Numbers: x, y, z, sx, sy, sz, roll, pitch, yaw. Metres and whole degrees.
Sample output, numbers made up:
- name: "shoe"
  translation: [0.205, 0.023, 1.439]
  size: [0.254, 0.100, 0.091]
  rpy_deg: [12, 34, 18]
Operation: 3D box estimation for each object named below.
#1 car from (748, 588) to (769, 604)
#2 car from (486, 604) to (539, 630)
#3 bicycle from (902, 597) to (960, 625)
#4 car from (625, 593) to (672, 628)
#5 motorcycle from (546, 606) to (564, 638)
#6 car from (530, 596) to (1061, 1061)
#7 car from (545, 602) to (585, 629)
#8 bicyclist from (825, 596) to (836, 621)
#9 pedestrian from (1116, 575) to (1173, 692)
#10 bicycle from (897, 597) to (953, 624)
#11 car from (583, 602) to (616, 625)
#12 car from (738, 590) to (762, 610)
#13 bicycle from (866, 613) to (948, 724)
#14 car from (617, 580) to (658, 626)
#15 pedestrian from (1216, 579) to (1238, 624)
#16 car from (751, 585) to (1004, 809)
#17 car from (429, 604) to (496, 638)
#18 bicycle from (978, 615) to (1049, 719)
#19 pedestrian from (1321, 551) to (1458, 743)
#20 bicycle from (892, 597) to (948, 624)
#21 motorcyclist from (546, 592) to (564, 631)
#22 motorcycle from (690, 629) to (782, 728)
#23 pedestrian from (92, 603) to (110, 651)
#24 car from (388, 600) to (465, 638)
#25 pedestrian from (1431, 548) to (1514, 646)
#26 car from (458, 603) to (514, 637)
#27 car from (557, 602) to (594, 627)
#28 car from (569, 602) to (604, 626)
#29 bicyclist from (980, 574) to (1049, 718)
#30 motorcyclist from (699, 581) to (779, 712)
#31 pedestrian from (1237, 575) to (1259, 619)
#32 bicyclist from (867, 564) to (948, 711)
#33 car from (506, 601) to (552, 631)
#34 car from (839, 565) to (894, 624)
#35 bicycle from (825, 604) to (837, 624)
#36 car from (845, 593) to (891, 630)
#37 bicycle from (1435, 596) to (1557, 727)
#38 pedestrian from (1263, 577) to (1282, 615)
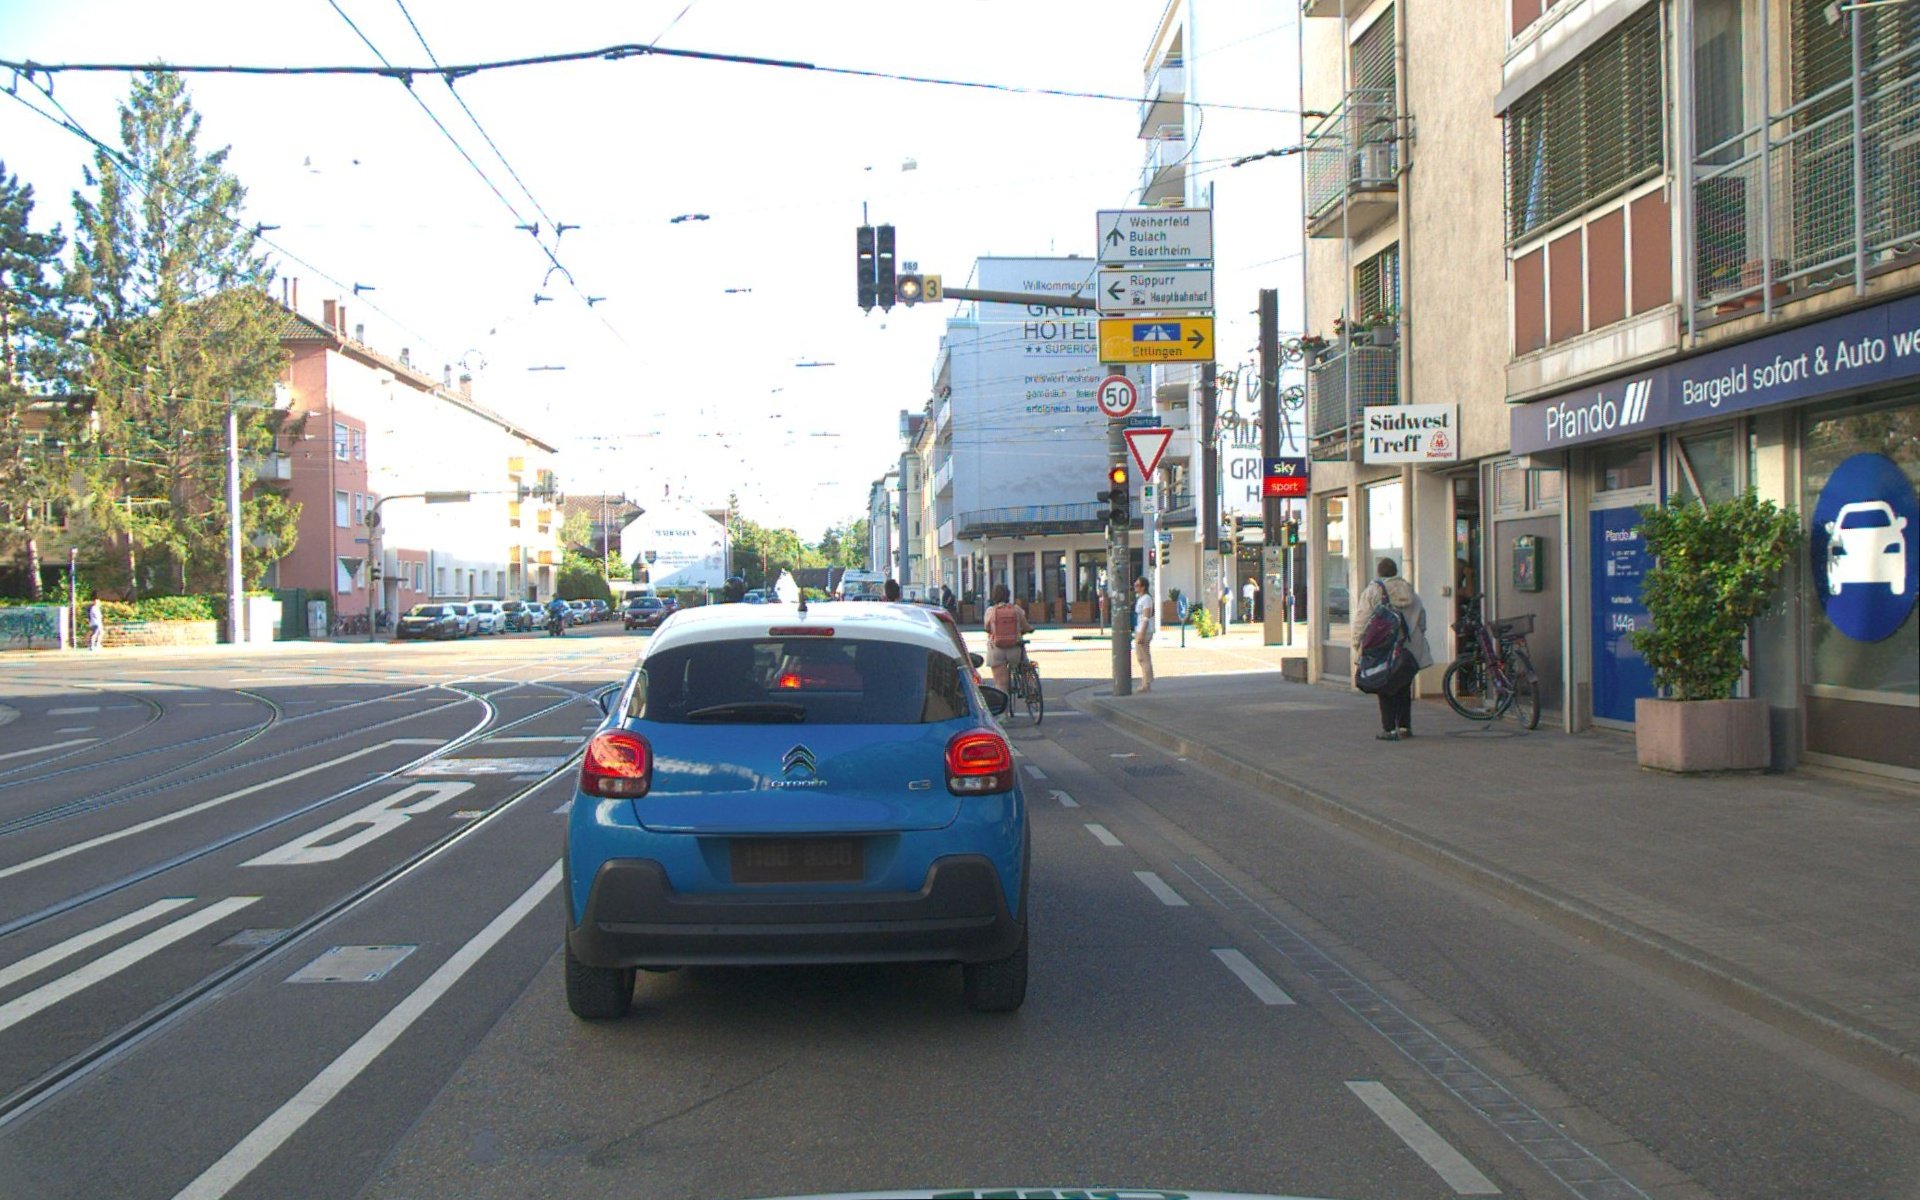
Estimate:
- name: "car"
  translation: [-22.819, -0.448, 187.490]
  size: [2.033, 1.793, 5.032]
  rpy_deg: [1, 0, -4]
- name: "car"
  translation: [-23.137, 0.864, 85.675]
  size: [1.909, 1.261, 4.278]
  rpy_deg: [1, 0, -5]
- name: "bicycle"
  translation: [-1.144, 0.438, 65.782]
  size: [2.208, 1.019, 0.855]
  rpy_deg: [-2, 0, -6]
- name: "car"
  translation: [-14.323, 0.480, 76.189]
  size: [1.744, 1.512, 3.824]
  rpy_deg: [-1, 0, -5]
- name: "motorcycle"
  translation: [-16.331, 0.884, 66.716]
  size: [0.700, 1.241, 1.958]
  rpy_deg: [-1, -2, -14]
- name: "car"
  translation: [-0.426, 0.731, 7.145]
  size: [1.700, 1.478, 3.664]
  rpy_deg: [0, 0, 4]
- name: "car"
  translation: [-24.378, 0.916, 102.239]
  size: [1.833, 1.604, 3.995]
  rpy_deg: [1, 0, -6]
- name: "bicyclist"
  translation: [-10.758, 0.695, 137.797]
  size: [0.774, 2.060, 0.986]
  rpy_deg: [1, 0, 0]
- name: "pedestrian"
  translation: [2.711, 0.488, 24.219]
  size: [0.528, 1.652, 0.733]
  rpy_deg: [-5, -2, 21]
- name: "bicycle"
  translation: [-1.433, 0.429, 67.145]
  size: [2.208, 1.019, 0.855]
  rpy_deg: [-2, 0, -6]
- name: "car"
  translation: [-25.808, 0.957, 118.565]
  size: [1.833, 1.604, 3.995]
  rpy_deg: [1, 0, -6]
- name: "car"
  translation: [-21.497, 0.008, 169.514]
  size: [2.174, 1.965, 4.945]
  rpy_deg: [1, 0, -4]
- name: "bicycle"
  translation: [-0.641, 0.797, 20.064]
  size: [0.921, 1.245, 2.094]
  rpy_deg: [1, 0, -2]
- name: "car"
  translation: [-23.122, 0.226, 118.757]
  size: [2.370, 3.197, 3.486]
  rpy_deg: [1, 0, -4]
- name: "pedestrian"
  translation: [9.771, 0.046, 60.550]
  size: [0.598, 1.636, 0.668]
  rpy_deg: [1, -1, 27]
- name: "car"
  translation: [-0.745, 0.670, 13.485]
  size: [1.750, 1.548, 3.758]
  rpy_deg: [1, 1, -5]
- name: "car"
  translation: [-22.315, 0.918, 74.319]
  size: [1.865, 1.462, 4.100]
  rpy_deg: [1, 0, -3]
- name: "bicycle"
  translation: [0.686, 0.800, 20.531]
  size: [0.794, 1.202, 2.065]
  rpy_deg: [1, 0, 4]
- name: "pedestrian"
  translation: [3.833, 0.398, 14.811]
  size: [0.868, 1.619, 0.809]
  rpy_deg: [-3, 1, -9]
- name: "bicycle"
  translation: [-1.664, 0.438, 68.250]
  size: [2.208, 1.019, 0.855]
  rpy_deg: [-2, 0, -6]
- name: "motorcyclist"
  translation: [-16.362, 0.469, 66.846]
  size: [0.681, 1.523, 0.682]
  rpy_deg: [-1, -2, -14]
- name: "motorcycle"
  translation: [-2.620, 0.900, 19.541]
  size: [0.837, 1.065, 1.942]
  rpy_deg: [1, 0, -1]
- name: "pedestrian"
  translation: [-28.694, 0.906, 55.263]
  size: [0.510, 1.596, 0.568]
  rpy_deg: [1, -1, -28]
- name: "car"
  translation: [-22.098, 0.815, 68.707]
  size: [2.112, 1.457, 4.435]
  rpy_deg: [1, -2, -5]
- name: "pedestrian"
  translation: [5.972, -0.044, 19.277]
  size: [0.618, 1.106, 0.670]
  rpy_deg: [-2, 1, -38]
- name: "car"
  translation: [-22.626, 0.922, 79.089]
  size: [1.707, 1.553, 4.226]
  rpy_deg: [1, 0, -4]
- name: "car"
  translation: [-24.908, 0.927, 107.227]
  size: [1.833, 1.604, 3.995]
  rpy_deg: [1, 0, -6]
- name: "car"
  translation: [-25.320, 0.940, 112.301]
  size: [1.833, 1.604, 3.995]
  rpy_deg: [1, 0, -6]
- name: "bicyclist"
  translation: [0.681, 0.557, 20.386]
  size: [0.794, 1.721, 0.935]
  rpy_deg: [1, 0, 4]
- name: "motorcyclist"
  translation: [-2.621, 0.542, 19.715]
  size: [0.837, 1.514, 0.729]
  rpy_deg: [1, 0, -1]
- name: "pedestrian"
  translation: [10.894, -0.107, 62.549]
  size: [0.598, 1.636, 0.668]
  rpy_deg: [1, -1, 29]
- name: "bicyclist"
  translation: [-0.631, 0.440, 19.864]
  size: [0.921, 1.702, 1.079]
  rpy_deg: [1, 0, -2]
- name: "car"
  translation: [-23.849, 0.884, 91.696]
  size: [1.833, 1.604, 3.995]
  rpy_deg: [1, 0, -6]
- name: "car"
  translation: [-4.145, -0.223, 72.759]
  size: [2.221, 2.525, 5.002]
  rpy_deg: [0, 0, -5]
- name: "bicycle"
  translation: [-10.765, 1.170, 137.791]
  size: [0.774, 1.699, 2.230]
  rpy_deg: [1, 0, 1]
- name: "car"
  translation: [-3.800, 0.474, 67.773]
  size: [1.626, 1.456, 3.882]
  rpy_deg: [1, 0, -7]
- name: "bicycle"
  translation: [5.097, 0.561, 15.829]
  size: [0.486, 1.182, 1.776]
  rpy_deg: [-1, 0, -4]
- name: "pedestrian"
  translation: [12.230, -0.164, 64.786]
  size: [0.594, 1.469, 0.554]
  rpy_deg: [1, -1, 27]
